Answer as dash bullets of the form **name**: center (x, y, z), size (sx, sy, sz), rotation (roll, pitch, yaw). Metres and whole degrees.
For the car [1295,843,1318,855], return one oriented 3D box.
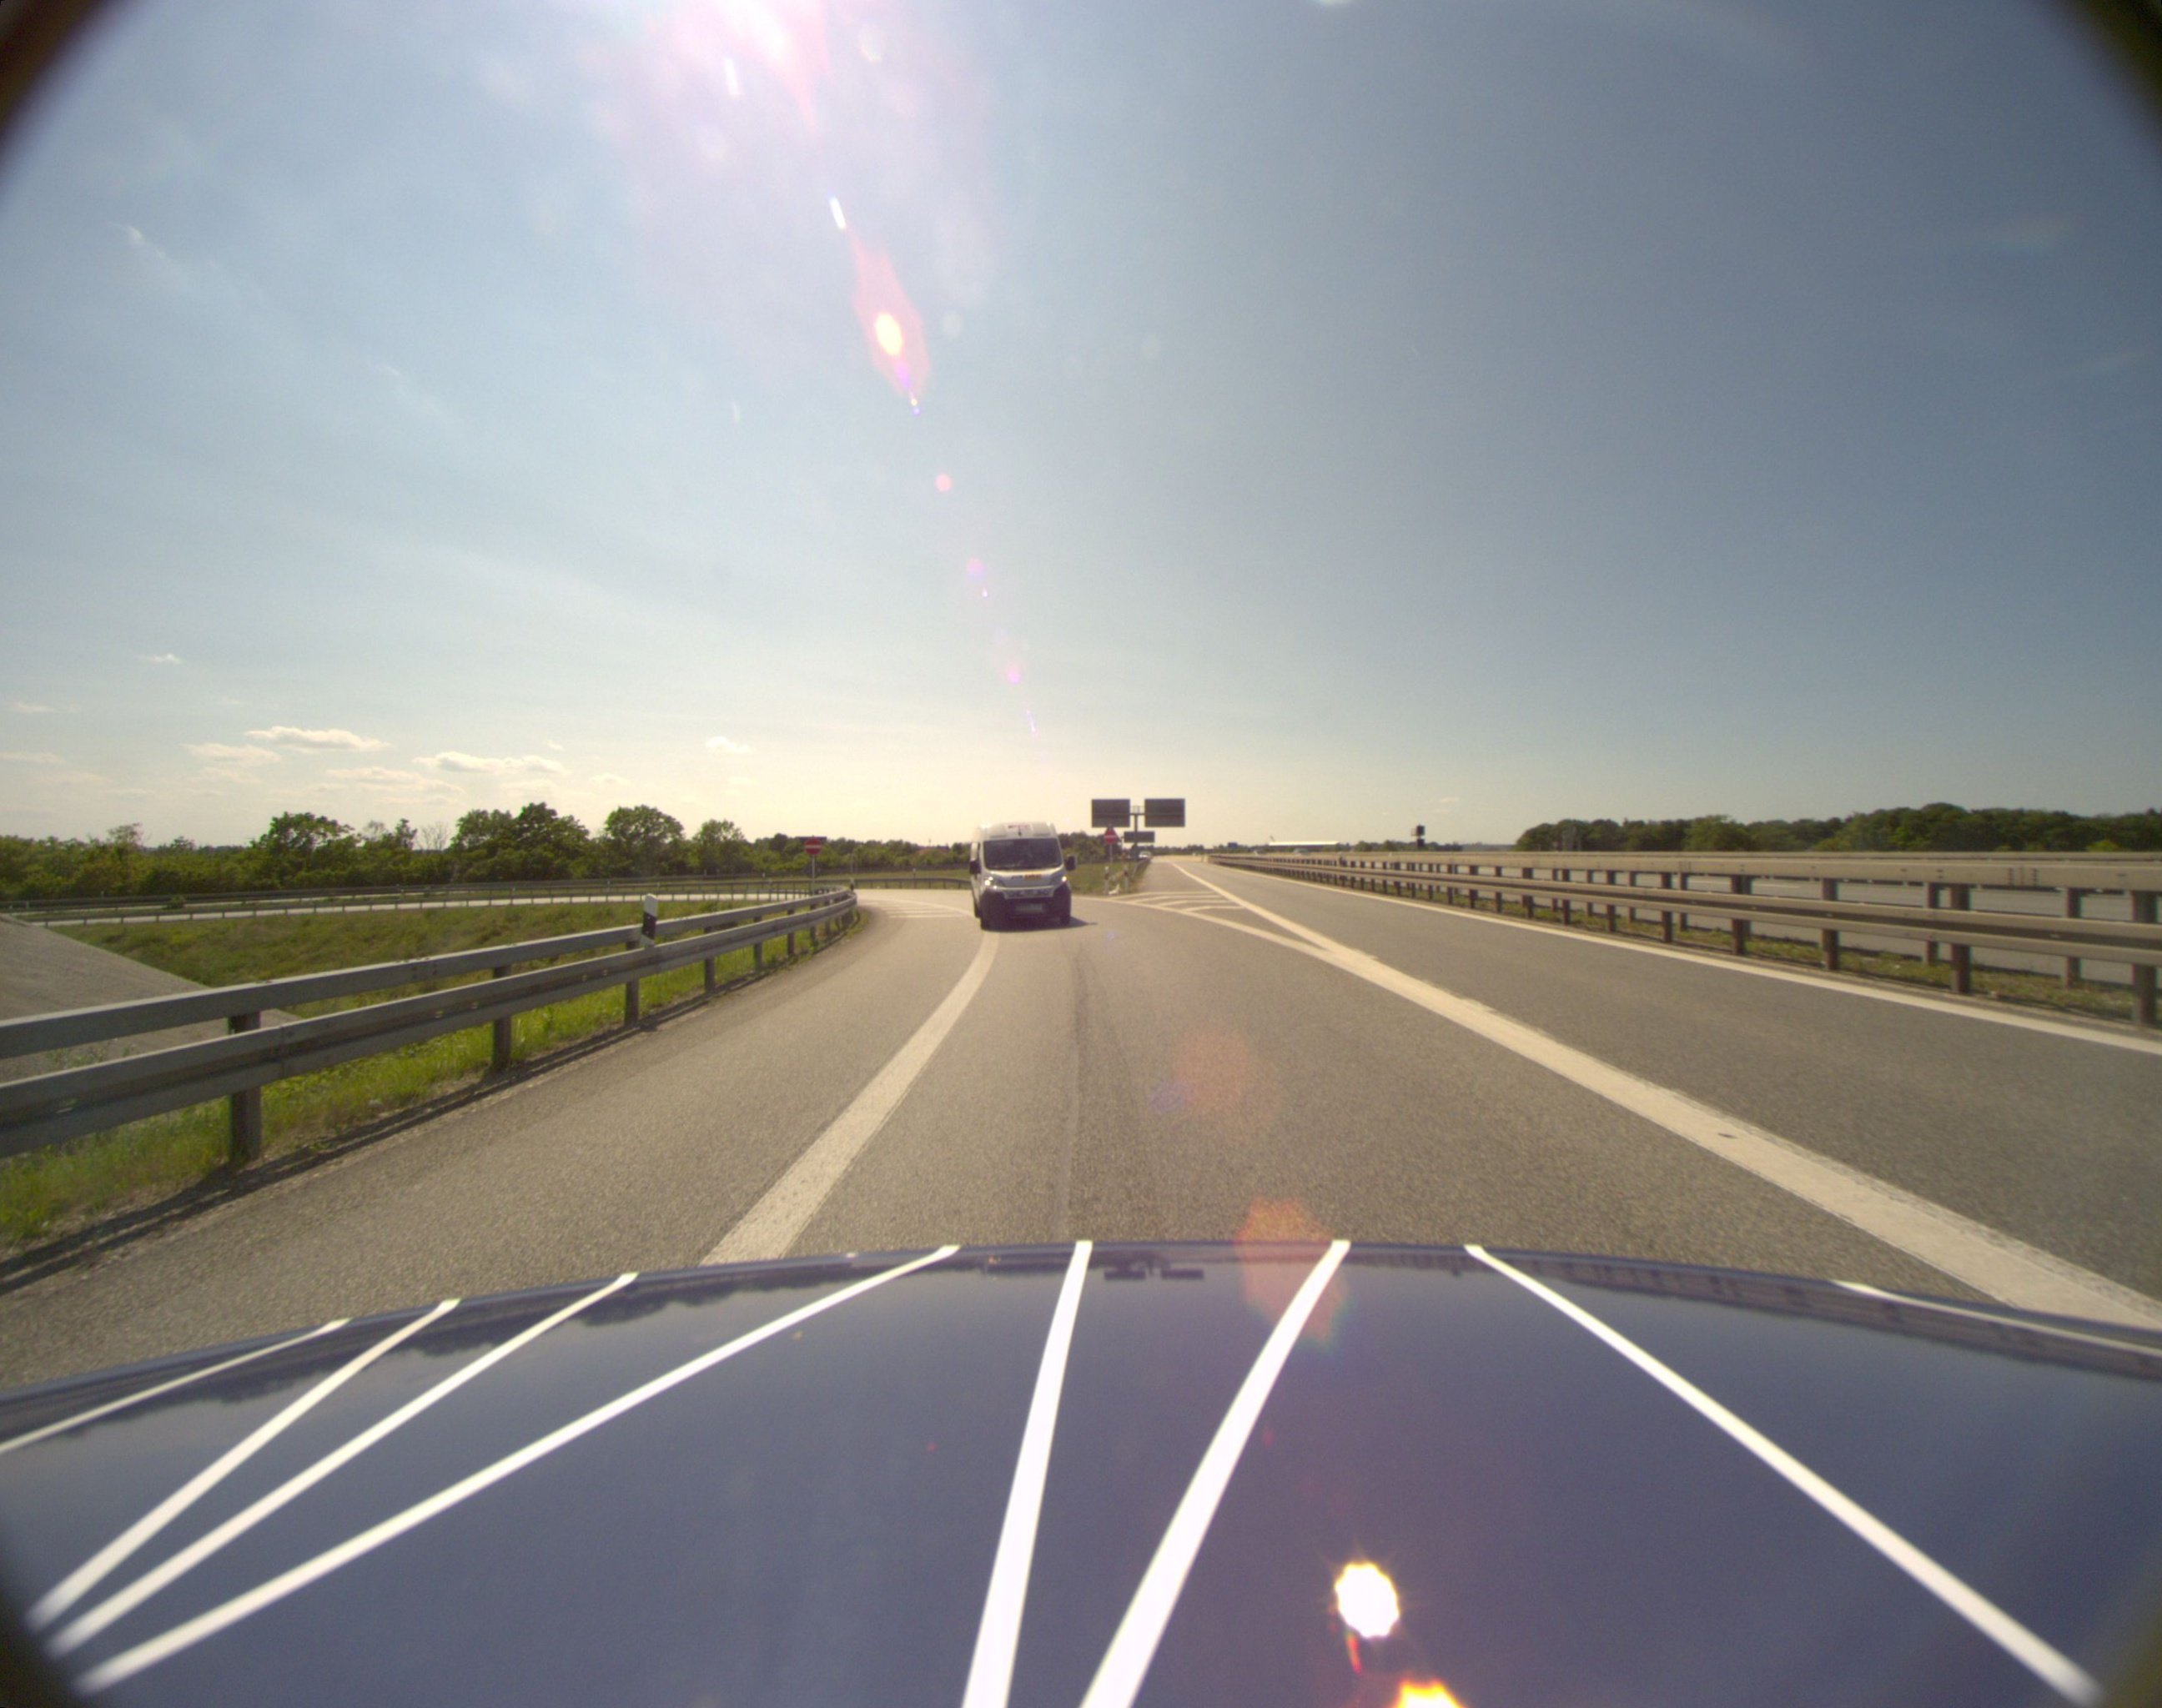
- **car**: center (27.734, -0.667, 93.615), size (1.766, 1.414, 4.216), rotation (-1, 1, 3)

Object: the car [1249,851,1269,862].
- **car**: center (23.952, 0.300, 102.393), size (1.834, 1.424, 4.217), rotation (-1, 1, 3)

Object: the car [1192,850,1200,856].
- **car**: center (32.502, -0.228, 214.289), size (1.842, 1.509, 4.576), rotation (-1, 1, 3)

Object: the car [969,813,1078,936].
- **car**: center (-1.681, 0.470, 19.474), size (2.089, 2.509, 6.232), rotation (-4, 0, -9)
